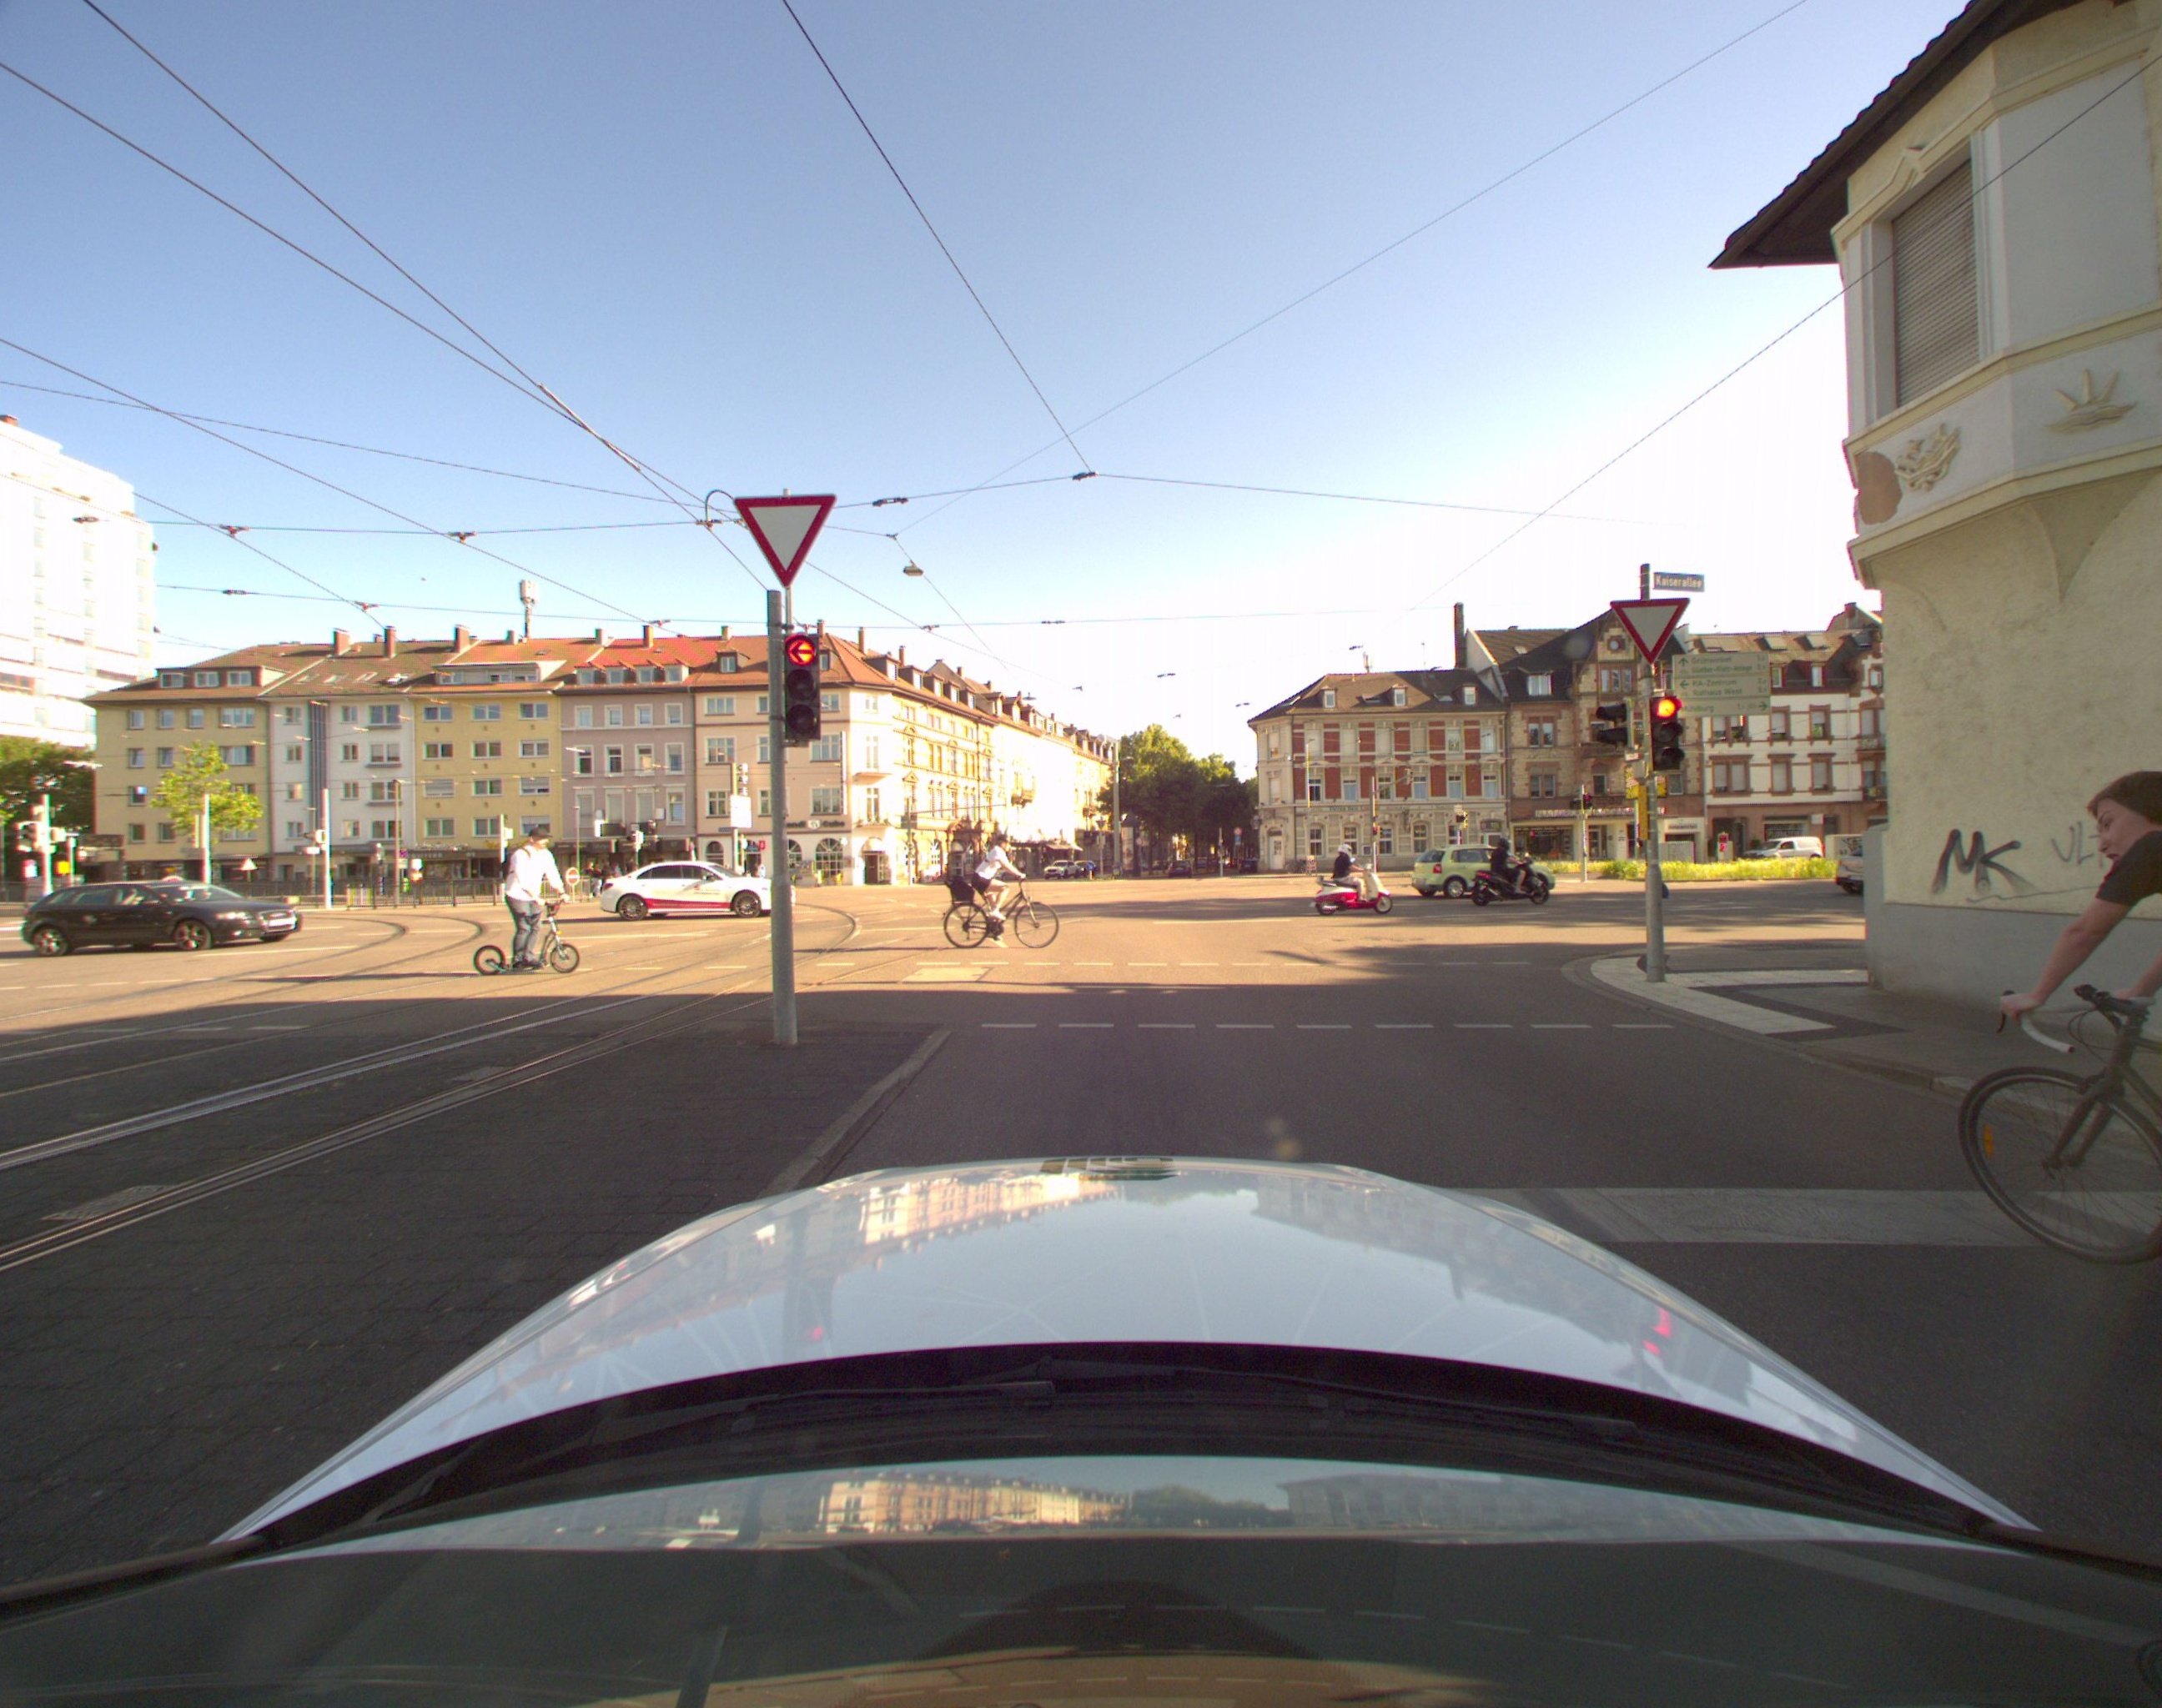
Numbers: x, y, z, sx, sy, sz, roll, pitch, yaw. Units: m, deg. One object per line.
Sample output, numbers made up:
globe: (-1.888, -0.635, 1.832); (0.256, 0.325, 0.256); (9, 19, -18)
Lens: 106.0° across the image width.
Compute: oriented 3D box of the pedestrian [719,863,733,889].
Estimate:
pedestrian: (-23.068, 1.406, 52.927); (0.744, 1.682, 0.623); (-1, 0, -23)

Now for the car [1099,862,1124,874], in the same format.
car: (3.841, 1.709, 102.169); (1.977, 1.404, 4.189); (-1, 0, 18)

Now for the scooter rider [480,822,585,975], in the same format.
scooter rider: (-7.159, 0.560, 10.668); (0.792, 1.912, 0.797); (-1, 0, 1)

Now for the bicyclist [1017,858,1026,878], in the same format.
bicyclist: (-4.760, 1.091, 65.465); (0.486, 1.601, 0.668); (-1, 0, 12)

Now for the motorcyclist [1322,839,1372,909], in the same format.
motorcyclist: (5.941, 0.439, 18.220); (0.814, 1.507, 0.657); (-1, 0, -10)

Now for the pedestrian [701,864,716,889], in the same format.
pedestrian: (-26.126, 1.582, 57.109); (0.740, 1.682, 0.626); (-1, 0, -10)

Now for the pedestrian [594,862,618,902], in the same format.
pedestrian: (-22.462, 1.310, 38.537); (0.625, 1.850, 0.778); (-1, 0, 1)

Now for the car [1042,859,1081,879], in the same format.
car: (-1.582, 1.216, 67.663); (1.977, 1.516, 4.189); (-1, 0, 18)

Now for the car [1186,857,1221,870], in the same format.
car: (14.971, 1.153, 99.501); (3.959, 1.454, 1.687); (-1, 0, 13)

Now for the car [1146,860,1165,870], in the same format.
car: (11.209, 1.686, 122.495); (1.977, 1.404, 4.189); (-1, 0, 18)

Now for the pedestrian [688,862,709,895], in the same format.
pedestrian: (-19.811, 1.265, 42.173); (0.738, 1.682, 0.628); (-1, 0, 1)

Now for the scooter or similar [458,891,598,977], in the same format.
scooter or similar: (-7.223, 1.034, 10.671); (1.426, 1.043, 0.565); (-1, 0, 1)

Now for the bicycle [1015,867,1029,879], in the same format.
bicycle: (-4.755, 1.529, 65.563); (0.650, 1.000, 1.671); (-1, -1, 14)

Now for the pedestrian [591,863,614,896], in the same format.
pedestrian: (-24.898, 1.304, 42.374); (0.764, 1.682, 0.628); (-1, 0, 1)

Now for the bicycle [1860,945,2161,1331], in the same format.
bicycle: (3.565, 0.919, 2.497); (0.568, 1.058, 1.890); (-1, 0, 2)

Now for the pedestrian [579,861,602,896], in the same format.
pedestrian: (-23.275, 1.137, 38.645); (0.738, 1.635, 0.572); (-1, 0, 1)

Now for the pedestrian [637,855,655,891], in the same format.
pedestrian: (-21.702, 0.941, 40.619); (0.558, 1.786, 0.560); (-1, 0, 1)

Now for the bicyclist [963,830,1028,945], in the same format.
bicyclist: (-1.322, 0.507, 12.650); (0.937, 1.713, 0.732); (-1, 0, -6)

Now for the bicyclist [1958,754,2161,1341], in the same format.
bicyclist: (3.563, 0.576, 2.494); (0.649, 1.767, 0.995); (-1, 0, 2)

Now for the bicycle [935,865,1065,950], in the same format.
bicycle: (-1.243, 0.806, 12.659); (1.920, 1.223, 0.741); (-1, 0, -6)

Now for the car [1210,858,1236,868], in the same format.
car: (19.390, 1.212, 111.183); (3.409, 1.239, 1.582); (-1, 0, 13)

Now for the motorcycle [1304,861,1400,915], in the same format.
motorcycle: (6.049, 0.752, 18.191); (2.025, 1.118, 0.503); (-1, 0, -10)

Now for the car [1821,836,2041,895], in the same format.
car: (22.284, 0.281, 21.435); (4.262, 1.441, 1.738); (-1, -1, -6)

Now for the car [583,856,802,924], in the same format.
car: (-9.751, 0.877, 20.766); (4.666, 1.473, 1.737); (-2, 0, -7)

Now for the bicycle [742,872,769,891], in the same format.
bicycle: (-22.978, 1.951, 57.432); (1.714, 1.276, 0.385); (-1, 0, -16)

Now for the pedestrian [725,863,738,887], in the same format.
pedestrian: (-24.262, 1.443, 56.549); (0.744, 1.682, 0.623); (-1, 0, -23)

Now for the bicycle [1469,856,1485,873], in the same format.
bicycle: (25.635, 0.670, 52.756); (0.483, 1.020, 1.789); (-1, 0, 12)

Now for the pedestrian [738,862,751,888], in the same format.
pedestrian: (-21.816, 1.340, 52.764); (0.744, 1.682, 0.623); (-1, 0, -23)

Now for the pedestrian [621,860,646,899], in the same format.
pedestrian: (-21.461, 1.210, 39.055); (0.764, 1.829, 0.723); (-1, 0, 1)

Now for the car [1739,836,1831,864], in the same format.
car: (45.422, -0.247, 52.597); (4.239, 1.622, 1.999); (-1, 0, -1)

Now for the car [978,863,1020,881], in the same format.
car: (-6.751, 1.474, 67.357); (1.977, 1.361, 3.836); (-1, 0, 18)

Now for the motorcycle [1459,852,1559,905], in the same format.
motorcycle: (10.612, 0.593, 20.213); (2.205, 1.228, 0.692); (-1, 0, -10)

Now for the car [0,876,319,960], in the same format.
car: (-18.558, 1.252, 16.567); (4.264, 1.381, 1.642); (-2, 0, -6)

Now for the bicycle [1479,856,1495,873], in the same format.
bicycle: (26.340, 0.666, 52.911); (0.483, 1.020, 1.789); (-1, 0, 12)

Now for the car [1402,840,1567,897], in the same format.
car: (11.573, 0.396, 23.482); (3.949, 1.498, 1.738); (-1, 0, -6)

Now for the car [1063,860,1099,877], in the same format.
car: (0.039, 1.309, 73.801); (1.977, 1.404, 4.189); (-1, 0, 18)

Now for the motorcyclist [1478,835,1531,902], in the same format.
motorcyclist: (10.487, 0.348, 20.200); (0.832, 1.620, 0.814); (0, -1, -10)

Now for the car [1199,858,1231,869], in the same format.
car: (17.345, 1.223, 105.155); (3.959, 1.288, 1.700); (-1, 0, 13)

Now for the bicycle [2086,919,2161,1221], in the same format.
bicycle: (4.508, 0.858, 2.482); (0.568, 1.165, 1.890); (-1, 0, 2)

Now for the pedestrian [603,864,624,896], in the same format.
pedestrian: (-23.305, 1.279, 40.586); (0.697, 1.581, 0.559); (-1, 0, -4)

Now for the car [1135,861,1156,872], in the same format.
car: (9.255, 1.811, 116.817); (1.977, 1.404, 4.189); (-1, 0, 18)

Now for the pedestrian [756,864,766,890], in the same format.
pedestrian: (-15.837, 1.133, 40.294); (0.364, 1.253, 0.449); (-1, 0, -10)

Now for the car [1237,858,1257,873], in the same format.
car: (16.808, 1.130, 82.287); (1.742, 1.420, 4.016); (-1, 0, 14)

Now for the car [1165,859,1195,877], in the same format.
car: (7.521, 1.048, 62.380); (1.712, 1.300, 4.072); (-1, 0, -1)

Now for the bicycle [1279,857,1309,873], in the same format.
bicycle: (14.920, 0.749, 57.134); (1.940, 1.054, 0.717); (-1, 0, 11)
